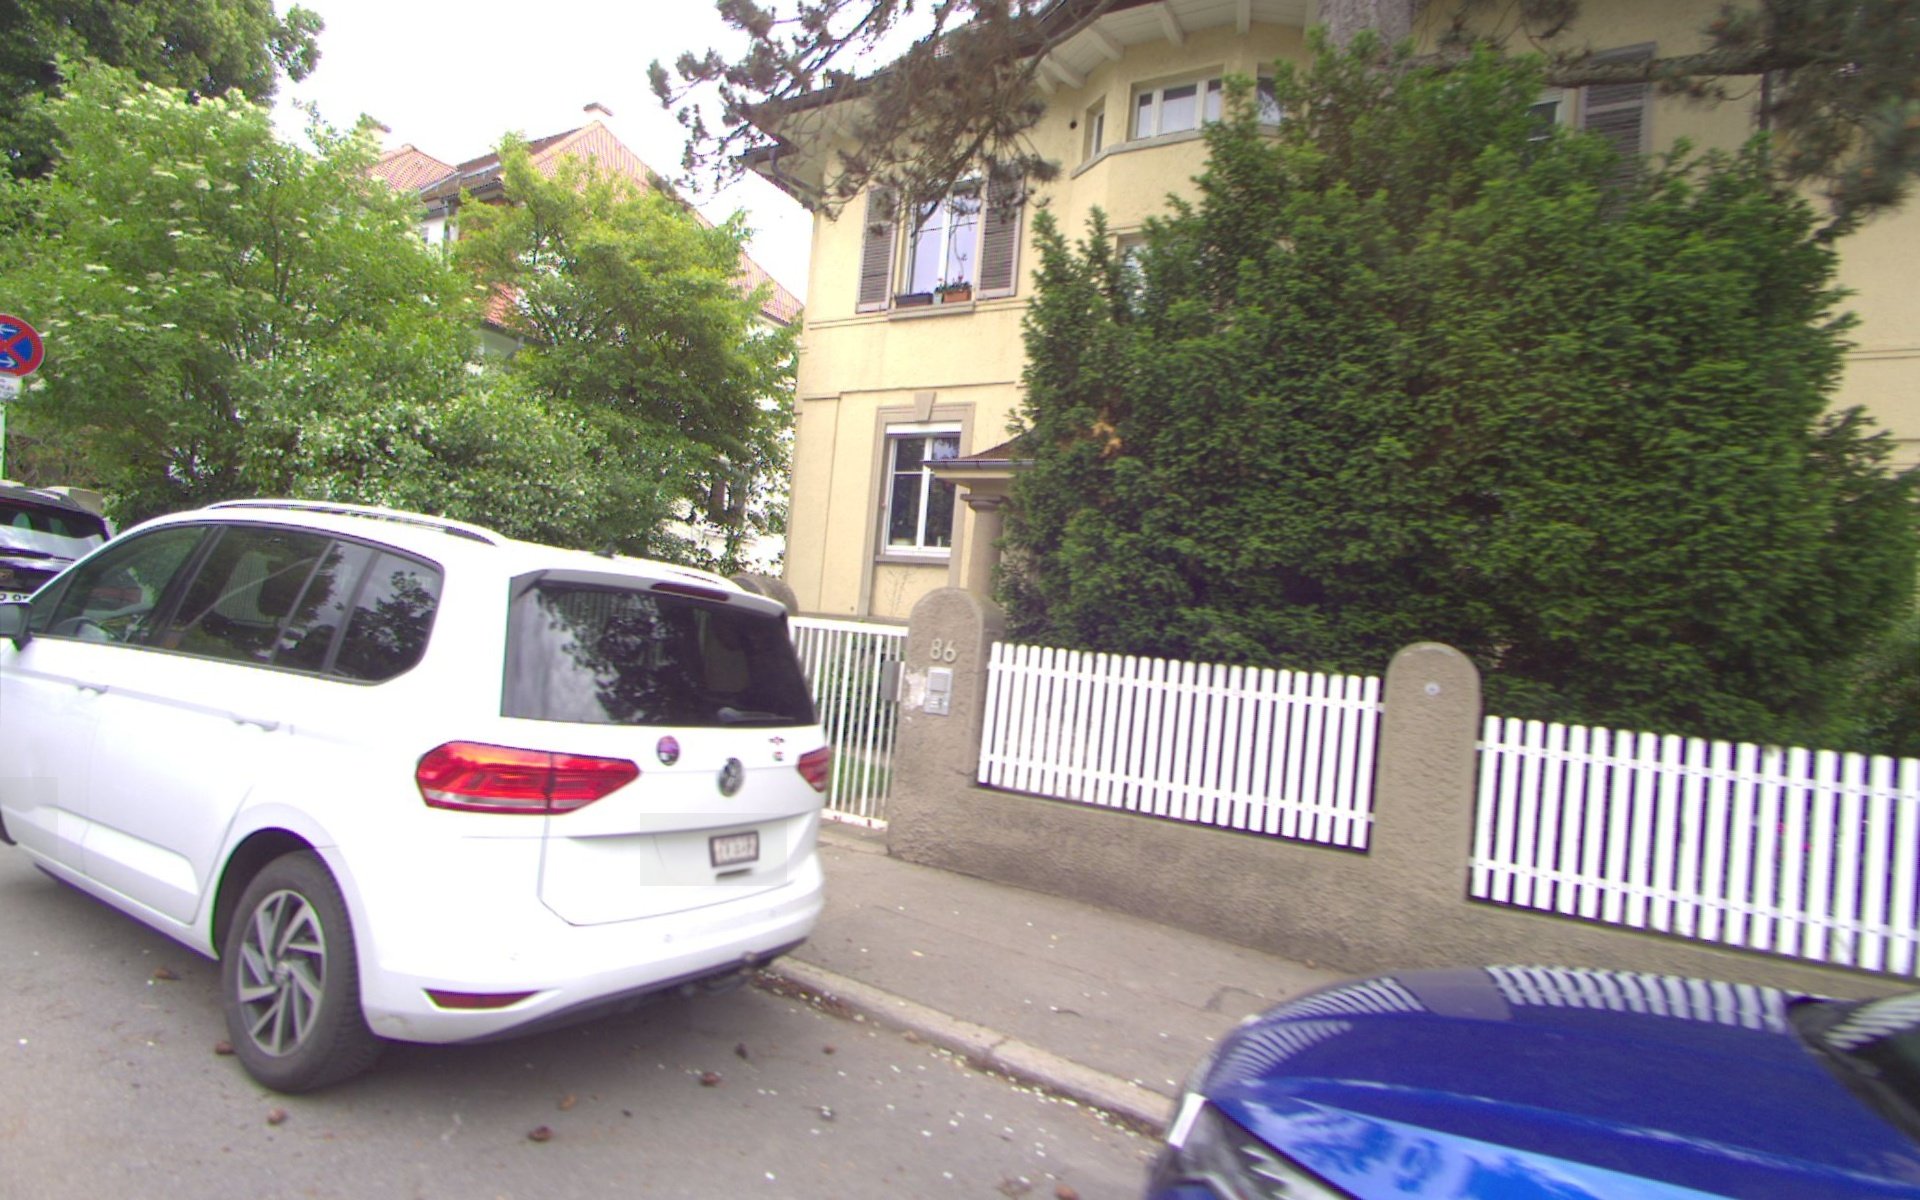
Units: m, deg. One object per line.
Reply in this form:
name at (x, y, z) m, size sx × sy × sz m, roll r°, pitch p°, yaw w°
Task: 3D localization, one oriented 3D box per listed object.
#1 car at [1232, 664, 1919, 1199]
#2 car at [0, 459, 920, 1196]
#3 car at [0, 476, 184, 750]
car at (2.474, 1.080, 1.039) m, size 3.984 × 1.474 × 1.651 m, roll 6°, pitch -3°, yaw 31°
car at (-2.515, 0.463, 4.163) m, size 4.231 × 1.621 × 1.790 m, roll 7°, pitch -3°, yaw 30°
car at (-7.462, -0.097, 7.011) m, size 4.007 × 1.625 × 1.755 m, roll 6°, pitch -3°, yaw 31°
